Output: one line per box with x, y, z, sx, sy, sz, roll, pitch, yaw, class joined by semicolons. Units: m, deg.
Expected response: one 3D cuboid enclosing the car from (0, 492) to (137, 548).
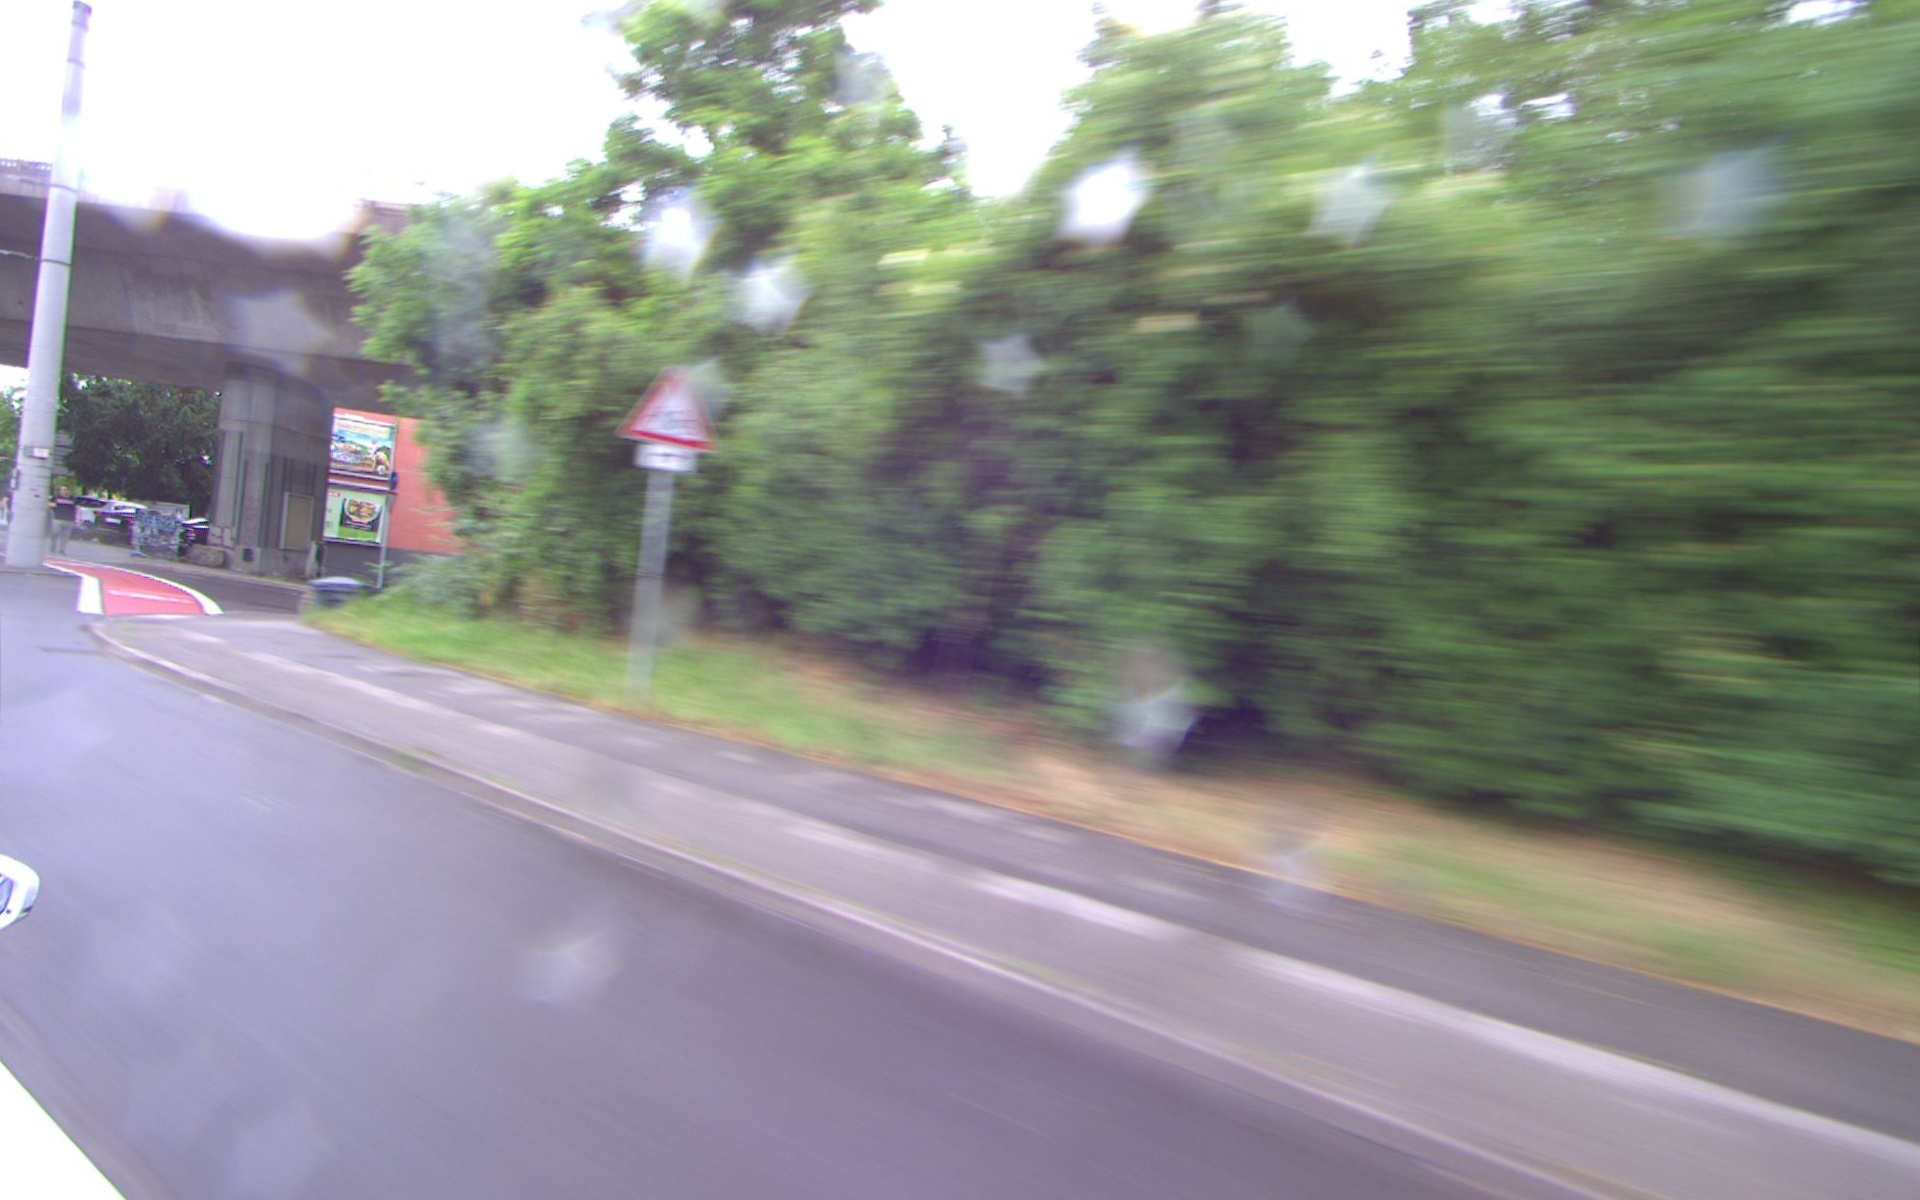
-33.893;-2.993;38.366;1.769;1.540;3.738;7;-2;0;car

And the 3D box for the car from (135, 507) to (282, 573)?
-26.161;-2.047;35.225;1.870;1.589;4.006;7;-3;2;car

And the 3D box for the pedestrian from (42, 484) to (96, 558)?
-23.950;-2.118;27.031;0.893;1.842;0.599;6;-2;26;pedestrian

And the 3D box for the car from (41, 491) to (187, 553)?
-31.511;-2.860;37.643;1.931;1.650;4.026;7;-2;0;car

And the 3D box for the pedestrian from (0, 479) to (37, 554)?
-24.541;-2.166;26.083;0.824;1.828;0.625;5;-3;42;pedestrian

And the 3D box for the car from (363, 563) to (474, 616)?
-23.772;-0.470;44.187;3.965;1.613;1.983;11;-3;-33;car

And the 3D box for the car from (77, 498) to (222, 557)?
-28.832;-2.538;35.960;1.754;1.456;4.052;7;-2;0;car
